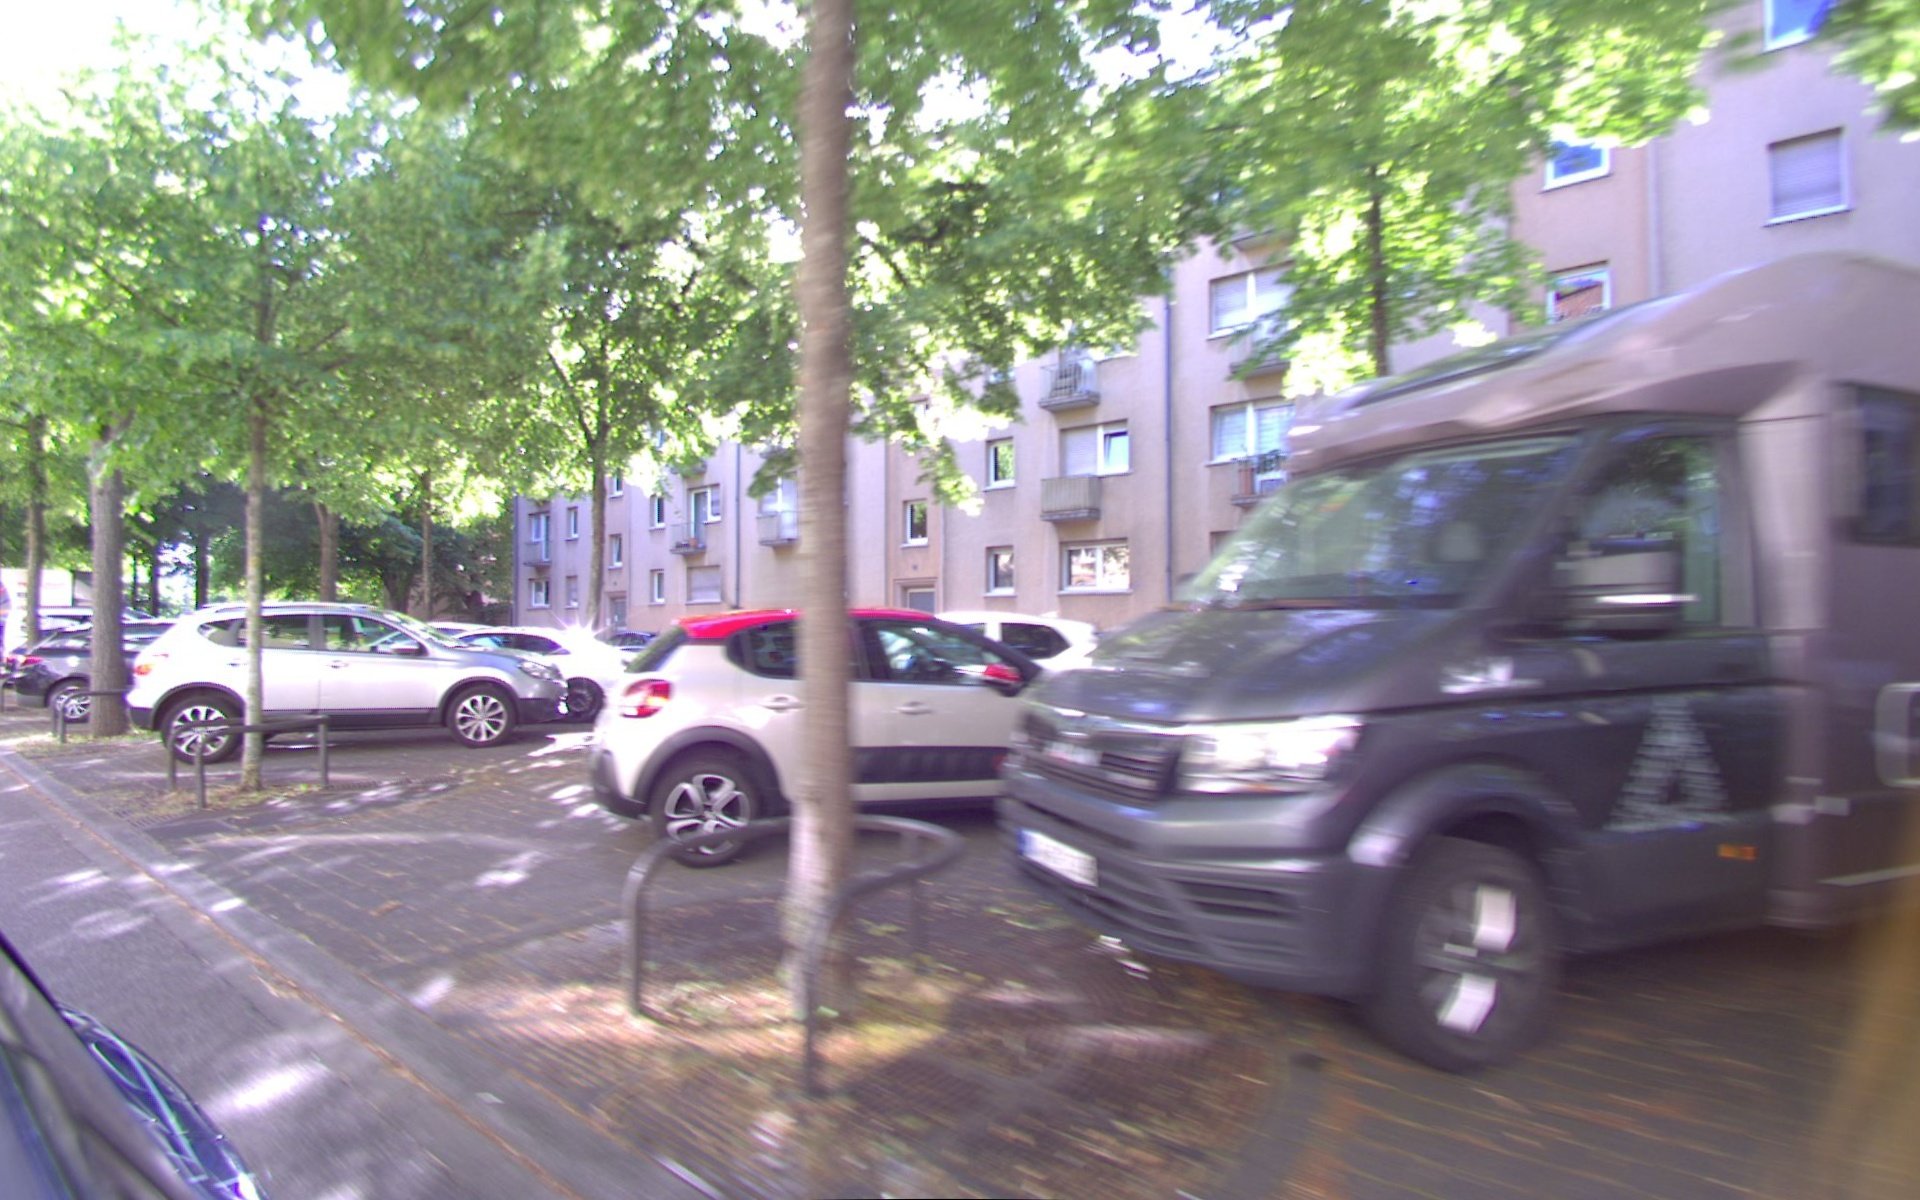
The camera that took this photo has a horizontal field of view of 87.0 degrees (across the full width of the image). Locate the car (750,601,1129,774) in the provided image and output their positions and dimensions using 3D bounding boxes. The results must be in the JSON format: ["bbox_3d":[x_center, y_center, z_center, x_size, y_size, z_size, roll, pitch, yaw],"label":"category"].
[{"bbox_3d":[-0.288,0.802,10.220,3.484,1.519,1.762,0,-2,-15],"label":"car"}]

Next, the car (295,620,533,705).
[{"bbox_3d":[-10.110,1.118,19.011,3.573,1.466,1.822,0,-1,-12],"label":"car"}]

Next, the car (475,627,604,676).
[{"bbox_3d":[-12.975,1.540,31.088,4.612,1.403,1.710,-1,-3,40],"label":"car"}]

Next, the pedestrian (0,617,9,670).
[{"bbox_3d":[-25.855,1.155,26.723,0.740,1.407,0.931,0,-2,-17],"label":"pedestrian"}]

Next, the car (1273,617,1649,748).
[{"bbox_3d":[6.711,1.029,13.852,4.307,1.519,1.745,-2,-2,41],"label":"car"}]

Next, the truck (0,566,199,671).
[{"bbox_3d":[-29.948,0.642,33.425,7.200,3.319,2.554,0,-2,-18],"label":"truck"}]

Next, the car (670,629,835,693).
[{"bbox_3d":[-5.055,1.413,24.398,3.998,1.397,1.872,-2,-2,41],"label":"car"}]

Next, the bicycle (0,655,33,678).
[{"bbox_3d":[-25.314,1.748,26.435,1.586,0.563,0.411,0,-2,-18],"label":"bicycle"}]

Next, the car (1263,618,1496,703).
[{"bbox_3d":[7.606,1.059,18.519,3.610,1.397,1.608,-2,-2,41],"label":"car"}]

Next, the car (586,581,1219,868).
[{"bbox_3d":[-0.437,0.701,6.880,3.931,1.519,1.763,0,-2,-20],"label":"car"}]

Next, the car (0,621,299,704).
[{"bbox_3d":[-15.600,1.151,19.541,4.413,1.466,1.793,0,-1,-17],"label":"car"}]

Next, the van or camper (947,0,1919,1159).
[{"bbox_3d":[3.688,-0.100,4.824,7.123,2.952,2.321,1,-2,-22],"label":"van or camper"}]

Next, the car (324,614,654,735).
[{"bbox_3d":[-6.416,0.966,14.287,3.974,1.413,1.829,-2,0,-17],"label":"car"}]

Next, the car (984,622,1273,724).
[{"bbox_3d":[2.770,1.158,17.321,4.531,1.519,1.973,-2,-2,41],"label":"car"}]

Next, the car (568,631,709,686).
[{"bbox_3d":[-8.808,1.540,27.595,3.998,1.398,1.872,-2,-3,41],"label":"car"}]

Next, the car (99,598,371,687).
[{"bbox_3d":[-15.972,0.924,22.623,4.526,1.846,2.025,1,-1,-20],"label":"car"}]

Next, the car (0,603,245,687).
[{"bbox_3d":[-20.240,1.033,24.507,4.445,1.879,2.088,0,-1,-24],"label":"car"}]

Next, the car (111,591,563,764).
[{"bbox_3d":[-6.689,0.782,11.432,4.075,1.692,1.765,0,-2,-20],"label":"car"}]

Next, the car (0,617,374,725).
[{"bbox_3d":[-11.726,1.016,15.627,4.348,1.473,1.721,0,-1,-16],"label":"car"}]
